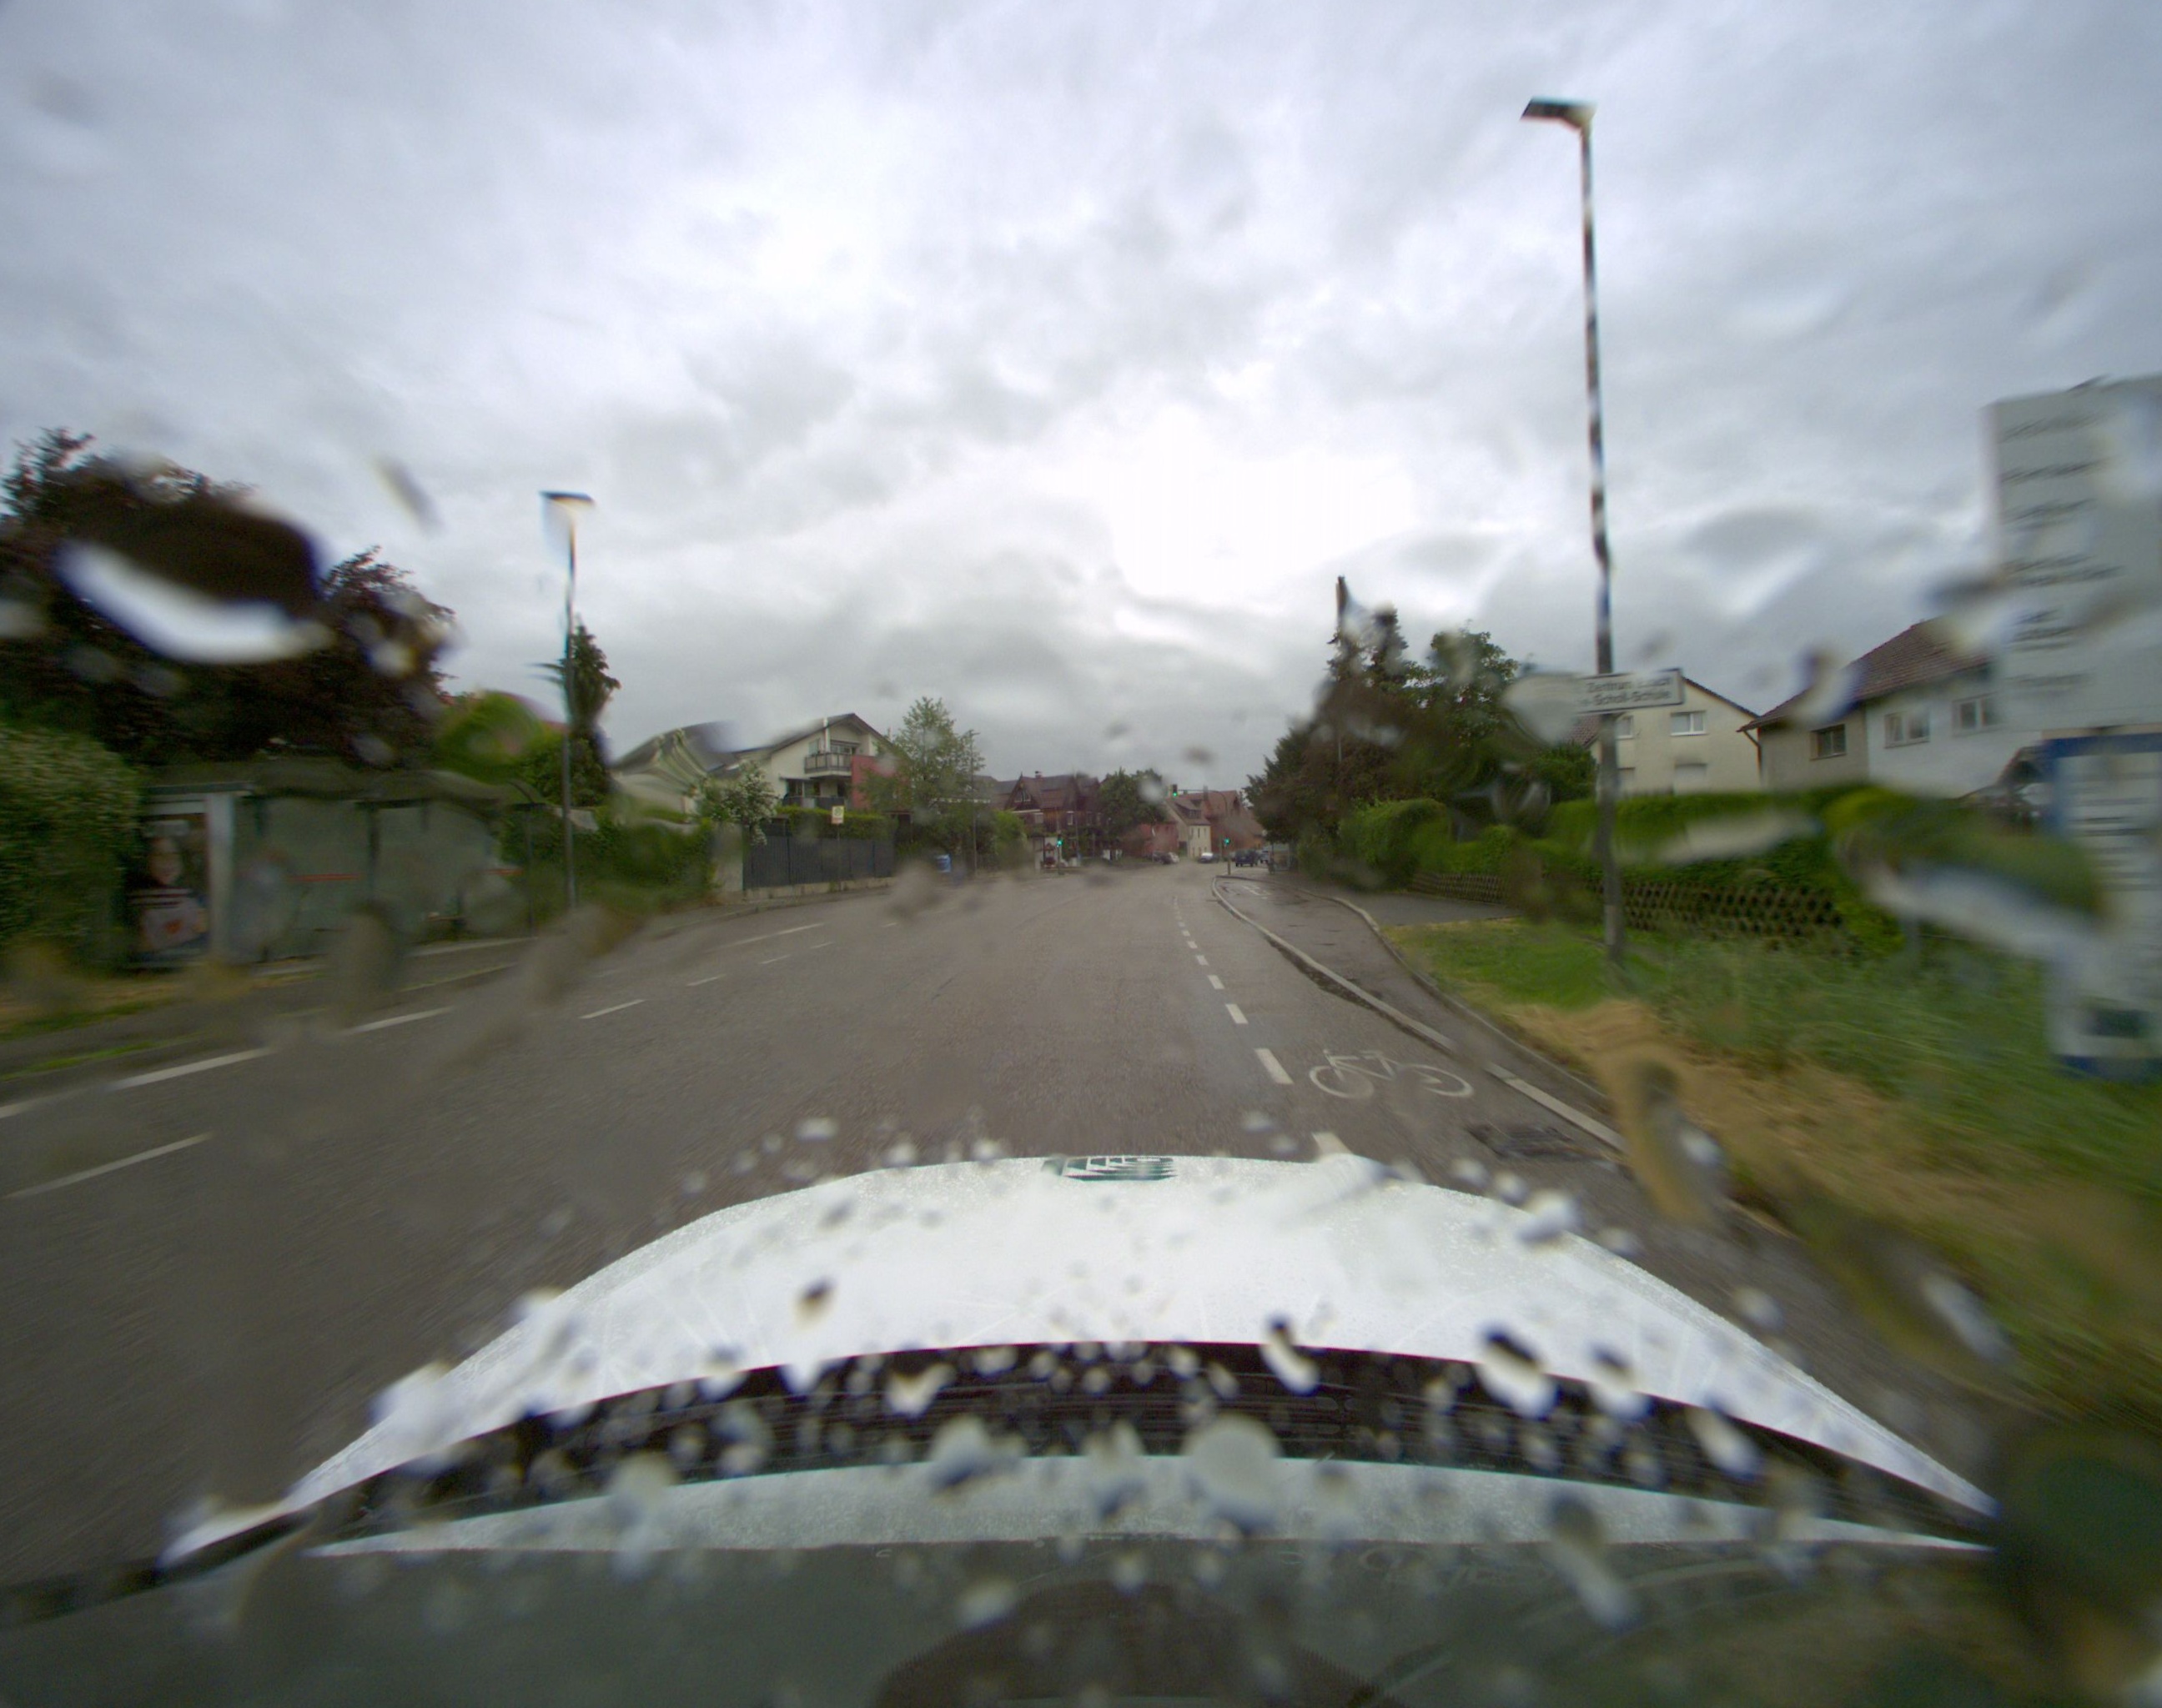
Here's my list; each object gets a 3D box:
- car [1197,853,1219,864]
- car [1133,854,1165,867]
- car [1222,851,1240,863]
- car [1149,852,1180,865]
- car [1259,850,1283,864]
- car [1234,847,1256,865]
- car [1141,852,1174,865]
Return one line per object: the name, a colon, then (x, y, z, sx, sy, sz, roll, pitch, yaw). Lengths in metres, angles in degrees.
car: (16.388, 0.510, 104.687, 1.612, 1.355, 4.135, 0, 1, 26)
car: (8.092, 0.825, 96.990, 3.413, 1.418, 1.643, -2, -1, 29)
car: (21.015, 0.375, 113.969, 1.590, 1.617, 3.296, -2, -1, 27)
car: (10.432, 0.532, 101.820, 3.428, 1.479, 1.600, -2, -1, 29)
car: (23.986, 0.362, 102.955, 1.891, 1.717, 4.583, 0, 1, 27)
car: (17.882, 0.246, 88.541, 1.915, 1.902, 4.815, 0, 0, 17)
car: (9.294, 0.484, 99.163, 3.541, 1.506, 1.867, 1, 1, 31)
